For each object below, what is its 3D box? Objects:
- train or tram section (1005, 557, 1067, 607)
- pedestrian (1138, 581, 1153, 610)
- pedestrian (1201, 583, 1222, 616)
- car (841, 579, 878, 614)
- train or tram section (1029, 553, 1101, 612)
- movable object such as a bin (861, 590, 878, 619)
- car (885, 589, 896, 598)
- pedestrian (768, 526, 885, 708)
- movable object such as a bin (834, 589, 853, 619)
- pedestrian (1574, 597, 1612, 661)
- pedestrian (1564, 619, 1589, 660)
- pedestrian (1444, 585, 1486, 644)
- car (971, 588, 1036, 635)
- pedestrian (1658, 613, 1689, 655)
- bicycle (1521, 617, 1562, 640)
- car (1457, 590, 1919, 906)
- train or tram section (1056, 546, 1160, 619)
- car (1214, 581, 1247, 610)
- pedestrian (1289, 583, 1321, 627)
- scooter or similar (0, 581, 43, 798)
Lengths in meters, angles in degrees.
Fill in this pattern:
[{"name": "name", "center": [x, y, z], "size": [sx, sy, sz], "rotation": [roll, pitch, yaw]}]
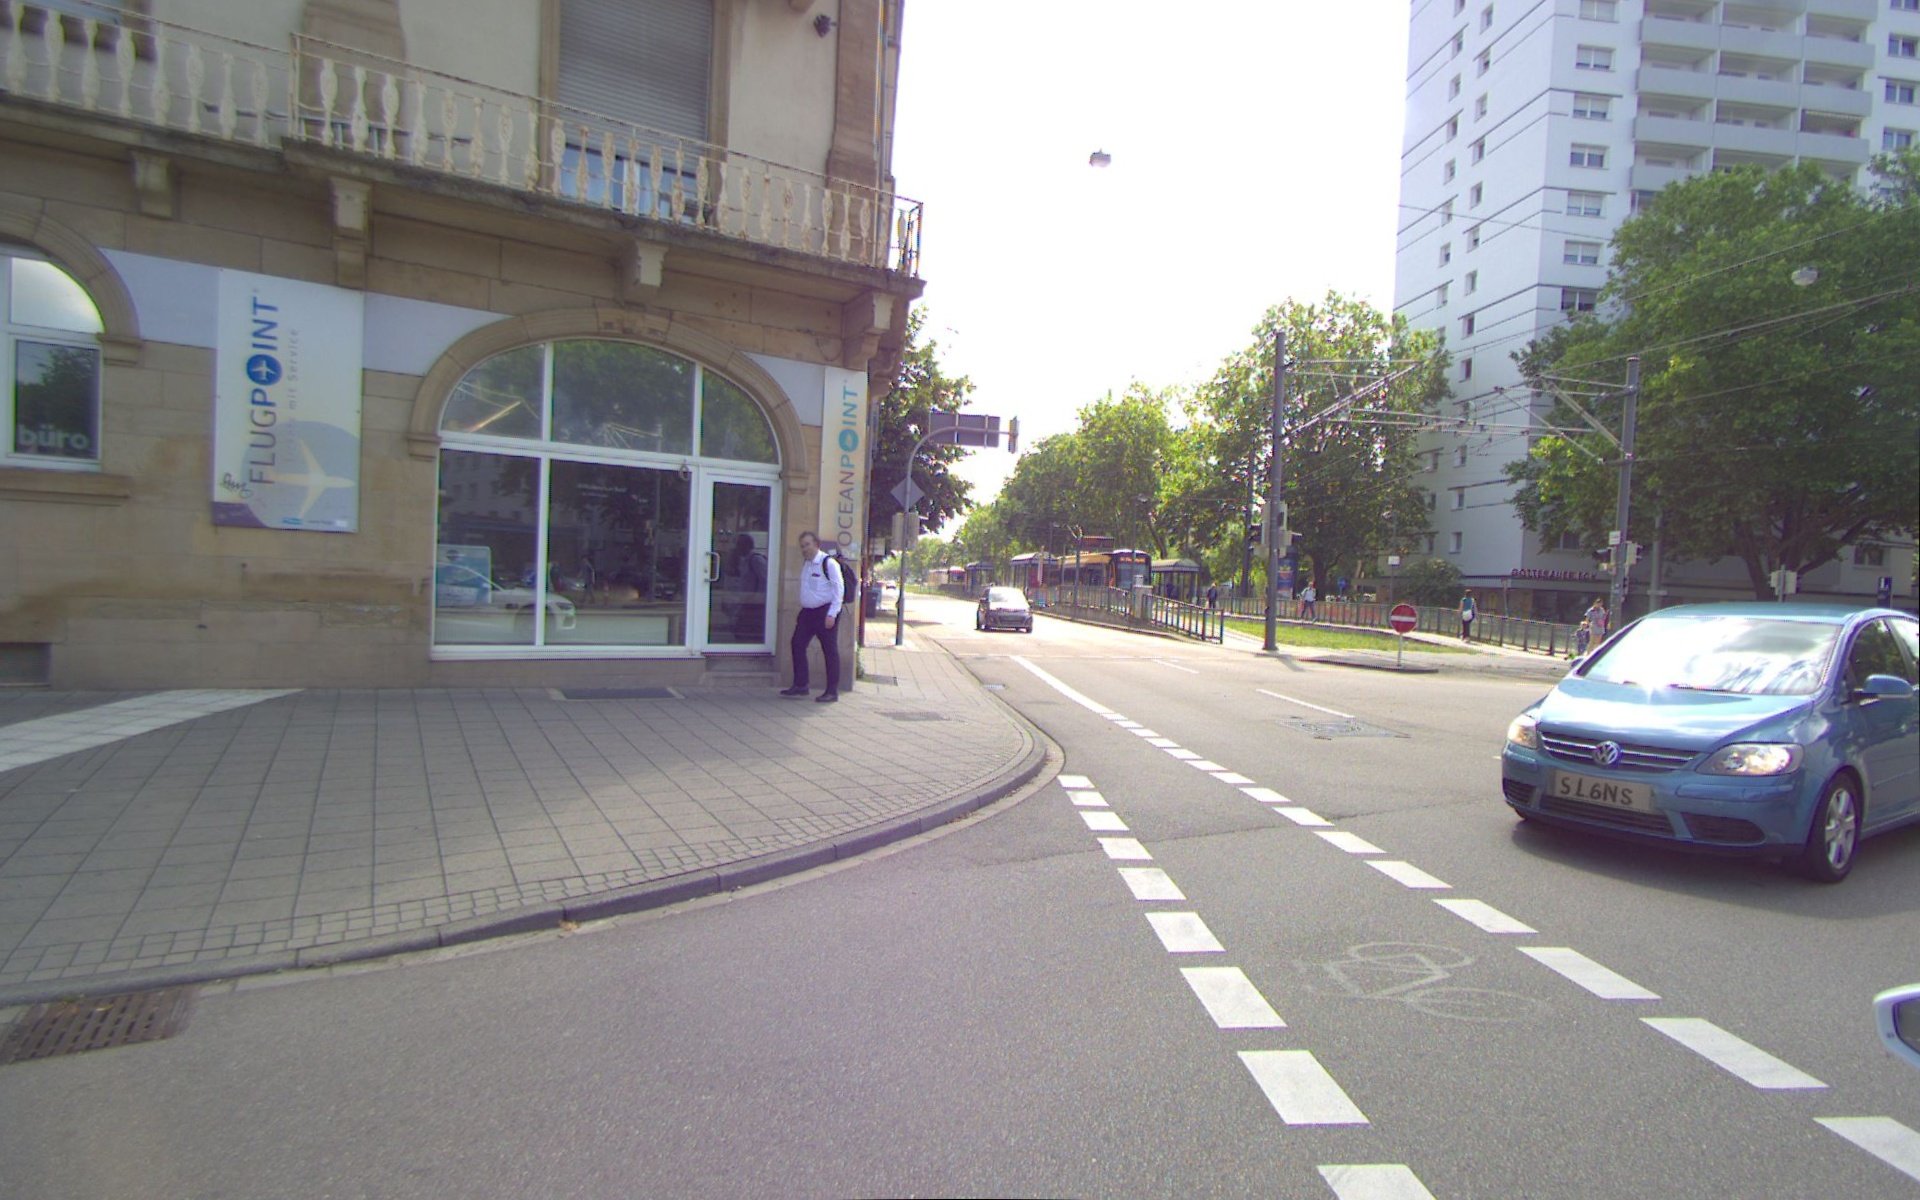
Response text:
[{"name": "train or tram section", "center": [5.990, -1.474, 81.534], "size": [2.681, 3.632, 13.002], "rotation": [3, 1, -6]}, {"name": "pedestrian", "center": [12.364, -0.294, 66.860], "size": [0.690, 1.874, 0.788], "rotation": [2, 1, -7]}, {"name": "pedestrian", "center": [14.425, -0.031, 57.632], "size": [0.844, 1.798, 0.876], "rotation": [3, 1, -6]}, {"name": "car", "center": [-4.974, -0.210, 49.301], "size": [1.628, 1.600, 3.472], "rotation": [2, 1, -8]}, {"name": "train or tram section", "center": [7.121, -1.215, 69.913], "size": [2.752, 3.632, 10.393], "rotation": [3, 1, -6]}, {"name": "movable object such as a bin", "center": [-3.631, 0.179, 40.156], "size": [0.582, 1.133, 0.786], "rotation": [2, 1, -11]}, {"name": "car", "center": [-11.494, -1.138, 166.200], "size": [1.629, 1.390, 3.473], "rotation": [2, 1, -6]}, {"name": "pedestrian", "center": [-1.470, 0.182, 11.013], "size": [0.895, 1.884, 0.798], "rotation": [5, 1, -30]}, {"name": "movable object such as a bin", "center": [-4.644, 0.147, 40.004], "size": [0.639, 1.133, 0.786], "rotation": [2, 1, -11]}, {"name": "pedestrian", "center": [17.190, 0.780, 27.290], "size": [0.613, 1.688, 0.676], "rotation": [3, 1, 13]}, {"name": "pedestrian", "center": [16.598, 1.061, 27.031], "size": [0.412, 1.077, 0.437], "rotation": [3, 1, 15]}, {"name": "pedestrian", "center": [16.839, 0.479, 33.512], "size": [0.814, 1.924, 0.845], "rotation": [3, 1, -6]}, {"name": "car", "center": [1.445, 0.355, 34.474], "size": [1.608, 1.458, 3.639], "rotation": [2, 1, -7]}, {"name": "pedestrian", "center": [28.512, 1.361, 40.150], "size": [0.525, 1.620, 0.783], "rotation": [2, 1, -8]}, {"name": "bicycle", "center": [29.111, 1.416, 50.294], "size": [1.695, 1.023, 0.534], "rotation": [3, 1, 22]}, {"name": "car", "center": [5.360, 0.795, 6.850], "size": [3.889, 1.561, 1.737], "rotation": [2, 1, -33]}, {"name": "train or tram section", "center": [8.262, -1.012, 58.324], "size": [2.763, 3.632, 13.002], "rotation": [3, 1, -6]}, {"name": "car", "center": [27.844, -0.508, 103.431], "size": [1.779, 2.812, 4.274], "rotation": [3, 1, -6]}, {"name": "pedestrian", "center": [14.642, 0.223, 42.624], "size": [0.835, 1.804, 1.044], "rotation": [3, 1, -5]}, {"name": "scooter or similar", "center": [-5.369, 0.509, 5.093], "size": [0.473, 1.161, 1.250], "rotation": [3, 3, -12]}]
